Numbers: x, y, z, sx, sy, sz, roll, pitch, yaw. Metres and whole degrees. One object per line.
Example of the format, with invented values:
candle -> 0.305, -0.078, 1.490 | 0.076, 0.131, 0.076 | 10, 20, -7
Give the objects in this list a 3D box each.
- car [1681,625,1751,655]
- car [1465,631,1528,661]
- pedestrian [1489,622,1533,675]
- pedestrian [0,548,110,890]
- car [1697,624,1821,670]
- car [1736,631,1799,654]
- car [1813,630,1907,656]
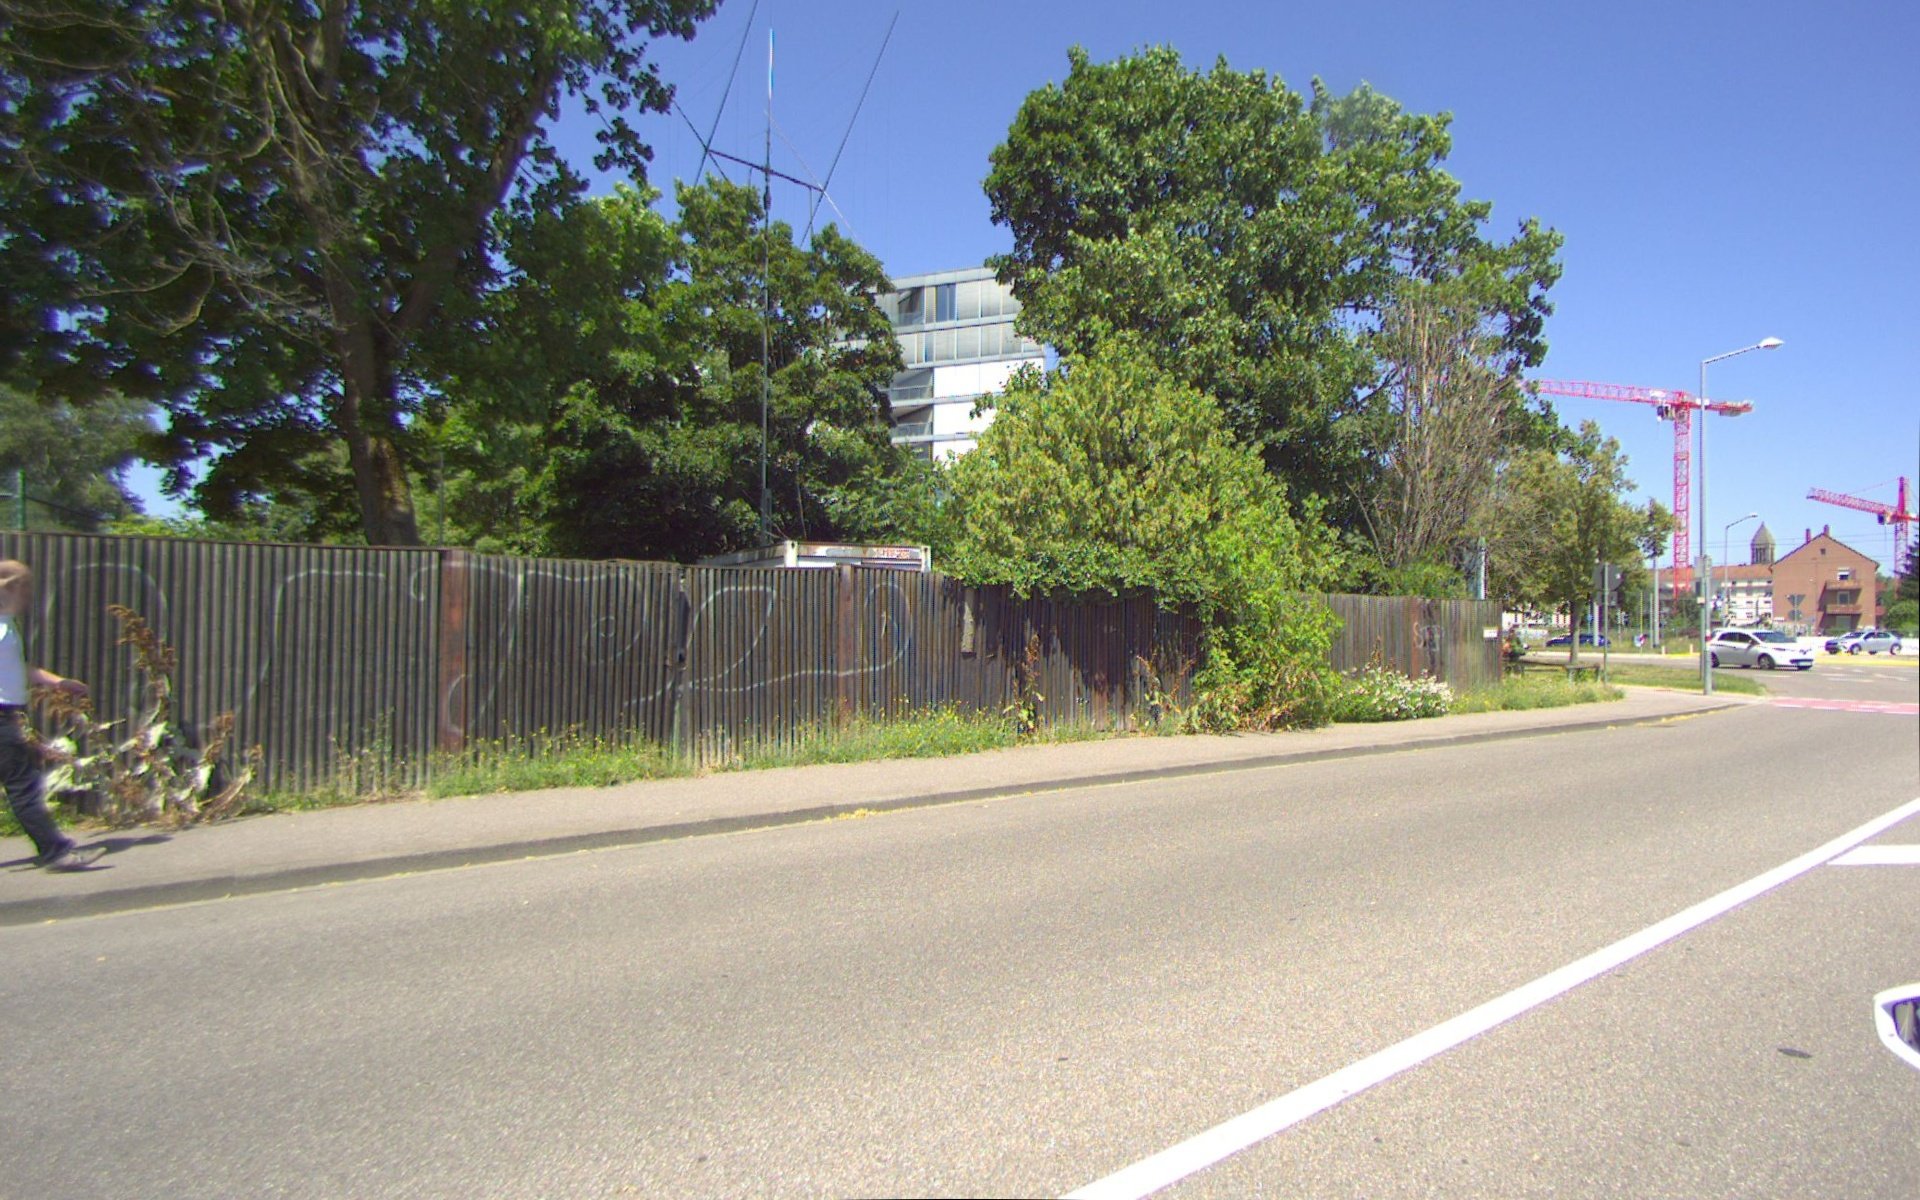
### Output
car -> 41.957, 2.194, 55.734 | 3.953, 1.570, 1.748 | 1, -1, -30
car -> 32.084, 2.728, 60.166 | 1.702, 1.641, 4.013 | 1, -1, 2
pedestrian -> 16.919, 1.485, 30.864 | 0.796, 1.584, 0.876 | 1, 0, -7
pedestrian -> -5.416, 0.643, 5.645 | 0.841, 1.849, 0.589 | 1, 0, -30
car -> 31.804, 1.829, 40.141 | 1.648, 1.641, 4.011 | 1, -1, -2
car -> 47.931, 2.516, 59.584 | 3.742, 1.253, 1.699 | 1, -1, -30
car -> 55.541, 2.637, 62.049 | 4.136, 1.520, 1.713 | 1, -1, 3
